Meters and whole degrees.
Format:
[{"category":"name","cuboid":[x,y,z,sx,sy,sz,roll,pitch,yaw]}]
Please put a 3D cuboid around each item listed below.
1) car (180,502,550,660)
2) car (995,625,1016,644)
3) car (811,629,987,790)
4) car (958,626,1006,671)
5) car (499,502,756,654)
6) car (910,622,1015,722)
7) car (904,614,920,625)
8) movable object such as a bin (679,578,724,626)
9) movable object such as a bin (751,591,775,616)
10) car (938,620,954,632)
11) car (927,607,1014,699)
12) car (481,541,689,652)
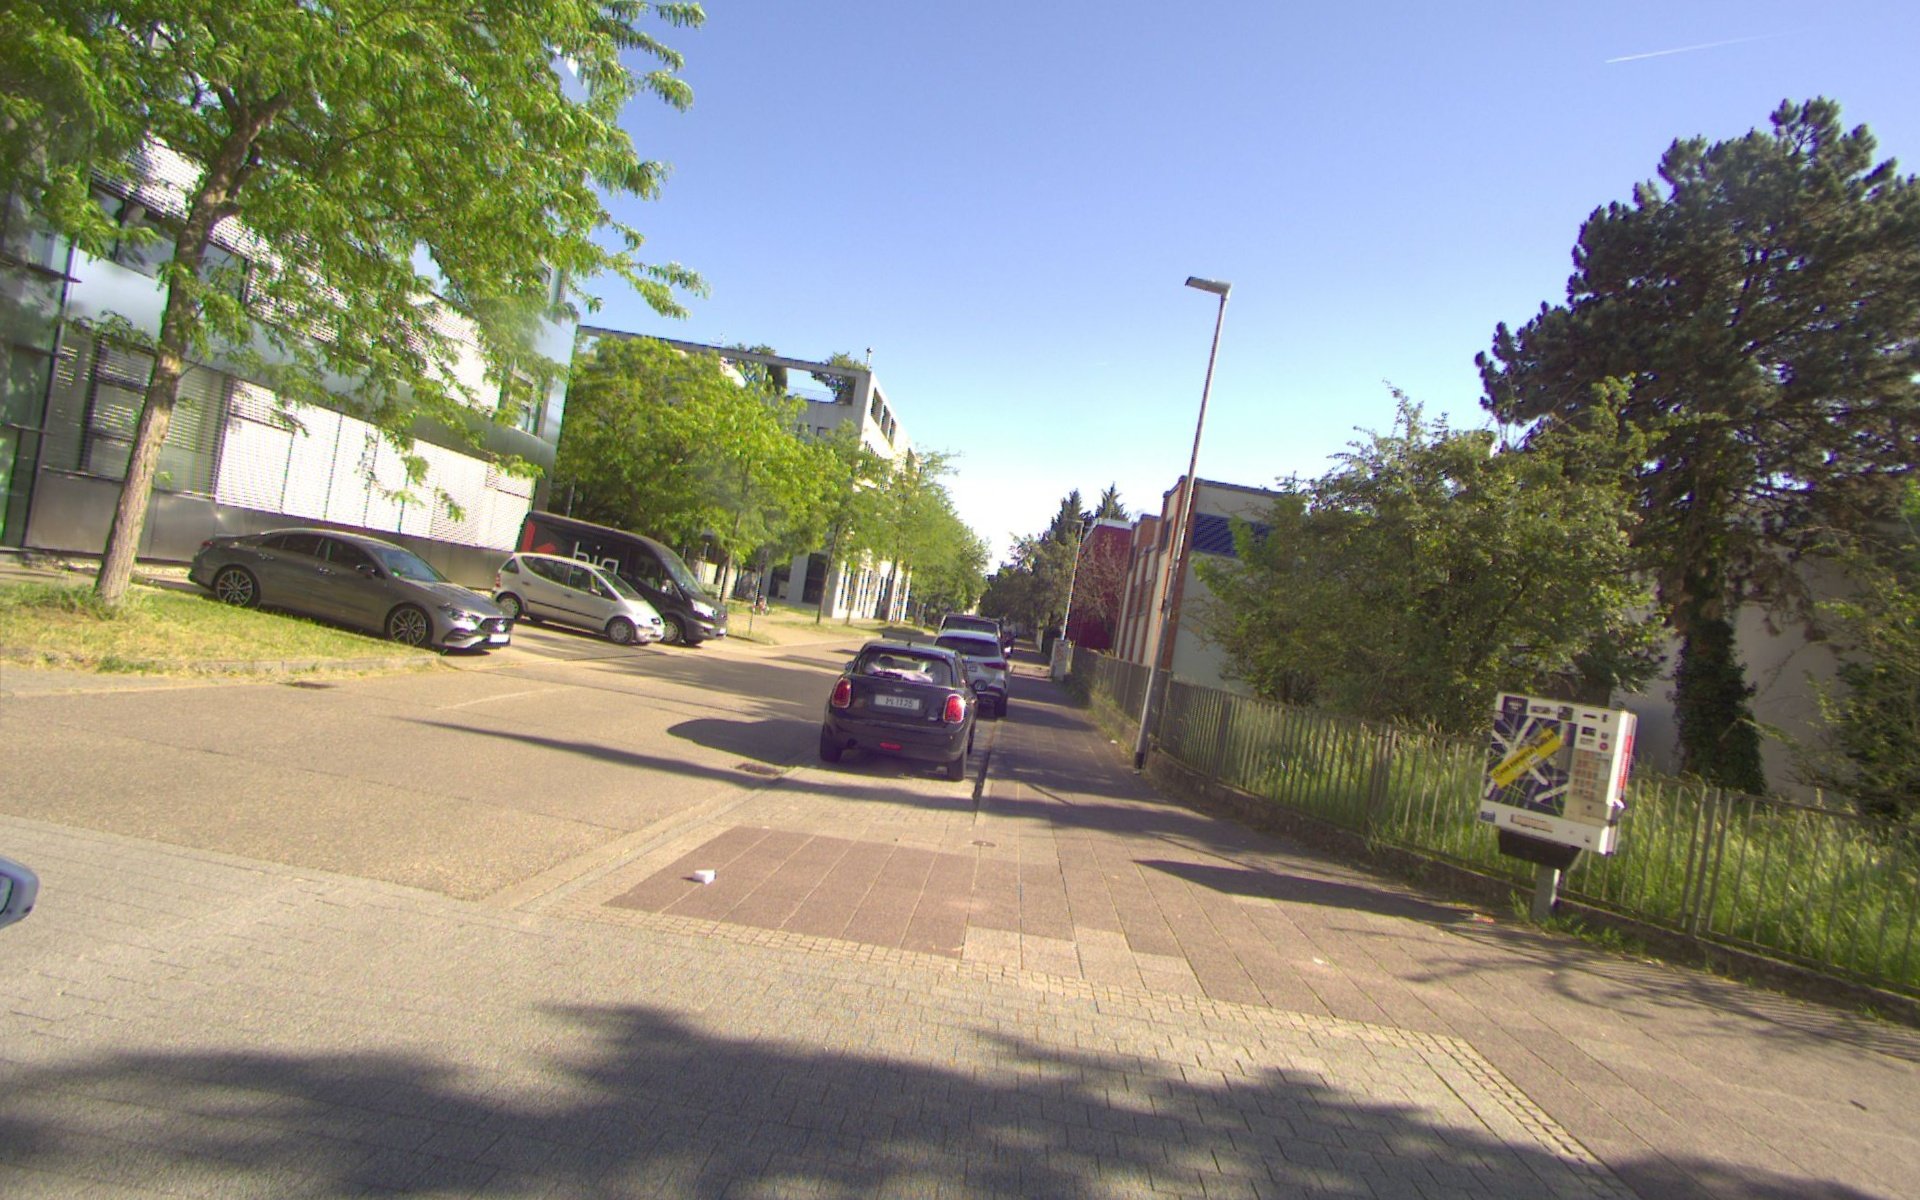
[{"category":"car","cuboid":[-9.032,-0.243,15.521,4.468,1.365,1.894,12,-1,3]},{"category":"car","cuboid":[4.868,3.703,108.003,1.962,1.856,4.002,6,-1,4]},{"category":"car","cuboid":[-0.600,1.235,12.597,1.626,1.489,3.767,8,-2,3]},{"category":"car","cuboid":[0.995,2.074,43.678,1.634,1.579,3.937,10,-1,4]},{"category":"car","cuboid":[-8.307,-0.499,25.542,5.375,2.651,2.233,12,-1,2]},{"category":"car","cuboid":[0.159,1.445,21.255,1.797,1.648,4.297,8,-2,3]},{"category":"car","cuboid":[-6.905,2.793,144.950,1.877,1.357,3.794,10,-1,1]},{"category":"movable object such as a bin","cuboid":[-8.941,0.046,34.911,1.278,1.430,1.224,10,0,-14]},{"category":"movable object such as a bin","cuboid":[-10.710,0.216,54.731,0.653,1.195,1.936,9,-1,4]},{"category":"car","cuboid":[-2.002,3.727,144.381,1.964,1.474,3.795,10,-1,1]},{"category":"car","cuboid":[0.396,1.441,27.843,1.913,2.045,4.829,8,-2,3]},{"category":"car","cuboid":[-8.449,-0.052,22.938,3.775,1.663,1.893,12,-1,2]}]
